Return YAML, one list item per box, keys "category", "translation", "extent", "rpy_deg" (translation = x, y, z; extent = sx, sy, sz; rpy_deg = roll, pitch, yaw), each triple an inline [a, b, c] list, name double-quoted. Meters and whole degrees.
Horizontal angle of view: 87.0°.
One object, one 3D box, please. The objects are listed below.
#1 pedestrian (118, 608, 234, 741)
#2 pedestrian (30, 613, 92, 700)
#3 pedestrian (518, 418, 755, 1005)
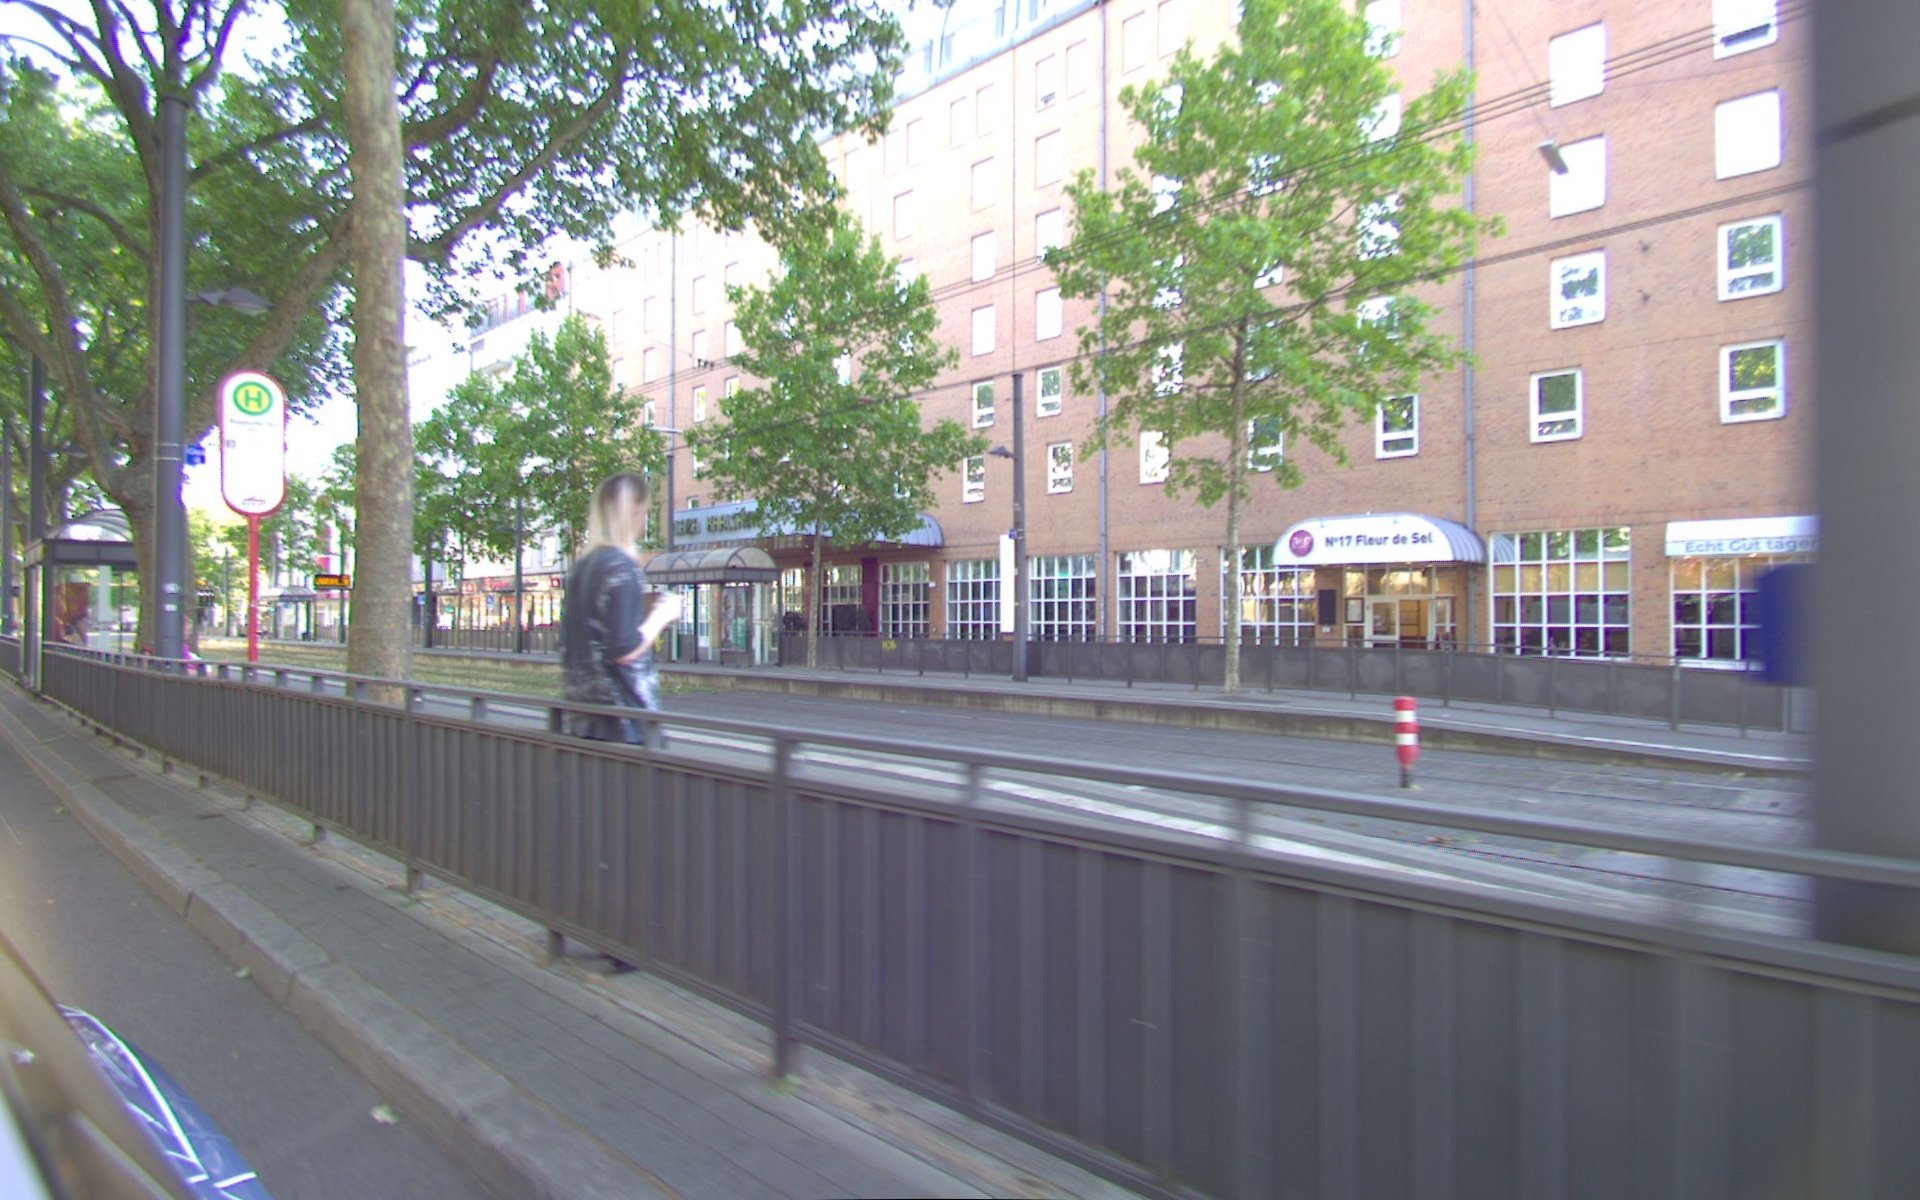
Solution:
- category: "pedestrian"
  translation: [-8.901, 0.806, 11.495]
  extent: [0.965, 1.410, 0.664]
  rpy_deg: [-1, 0, -45]
- category: "pedestrian"
  translation: [-15.014, 0.925, 16.902]
  extent: [0.725, 1.398, 0.641]
  rpy_deg: [-1, 0, -45]
- category: "pedestrian"
  translation: [-1.206, 0.364, 3.748]
  extent: [0.759, 1.914, 0.504]
  rpy_deg: [-1, 0, 42]
